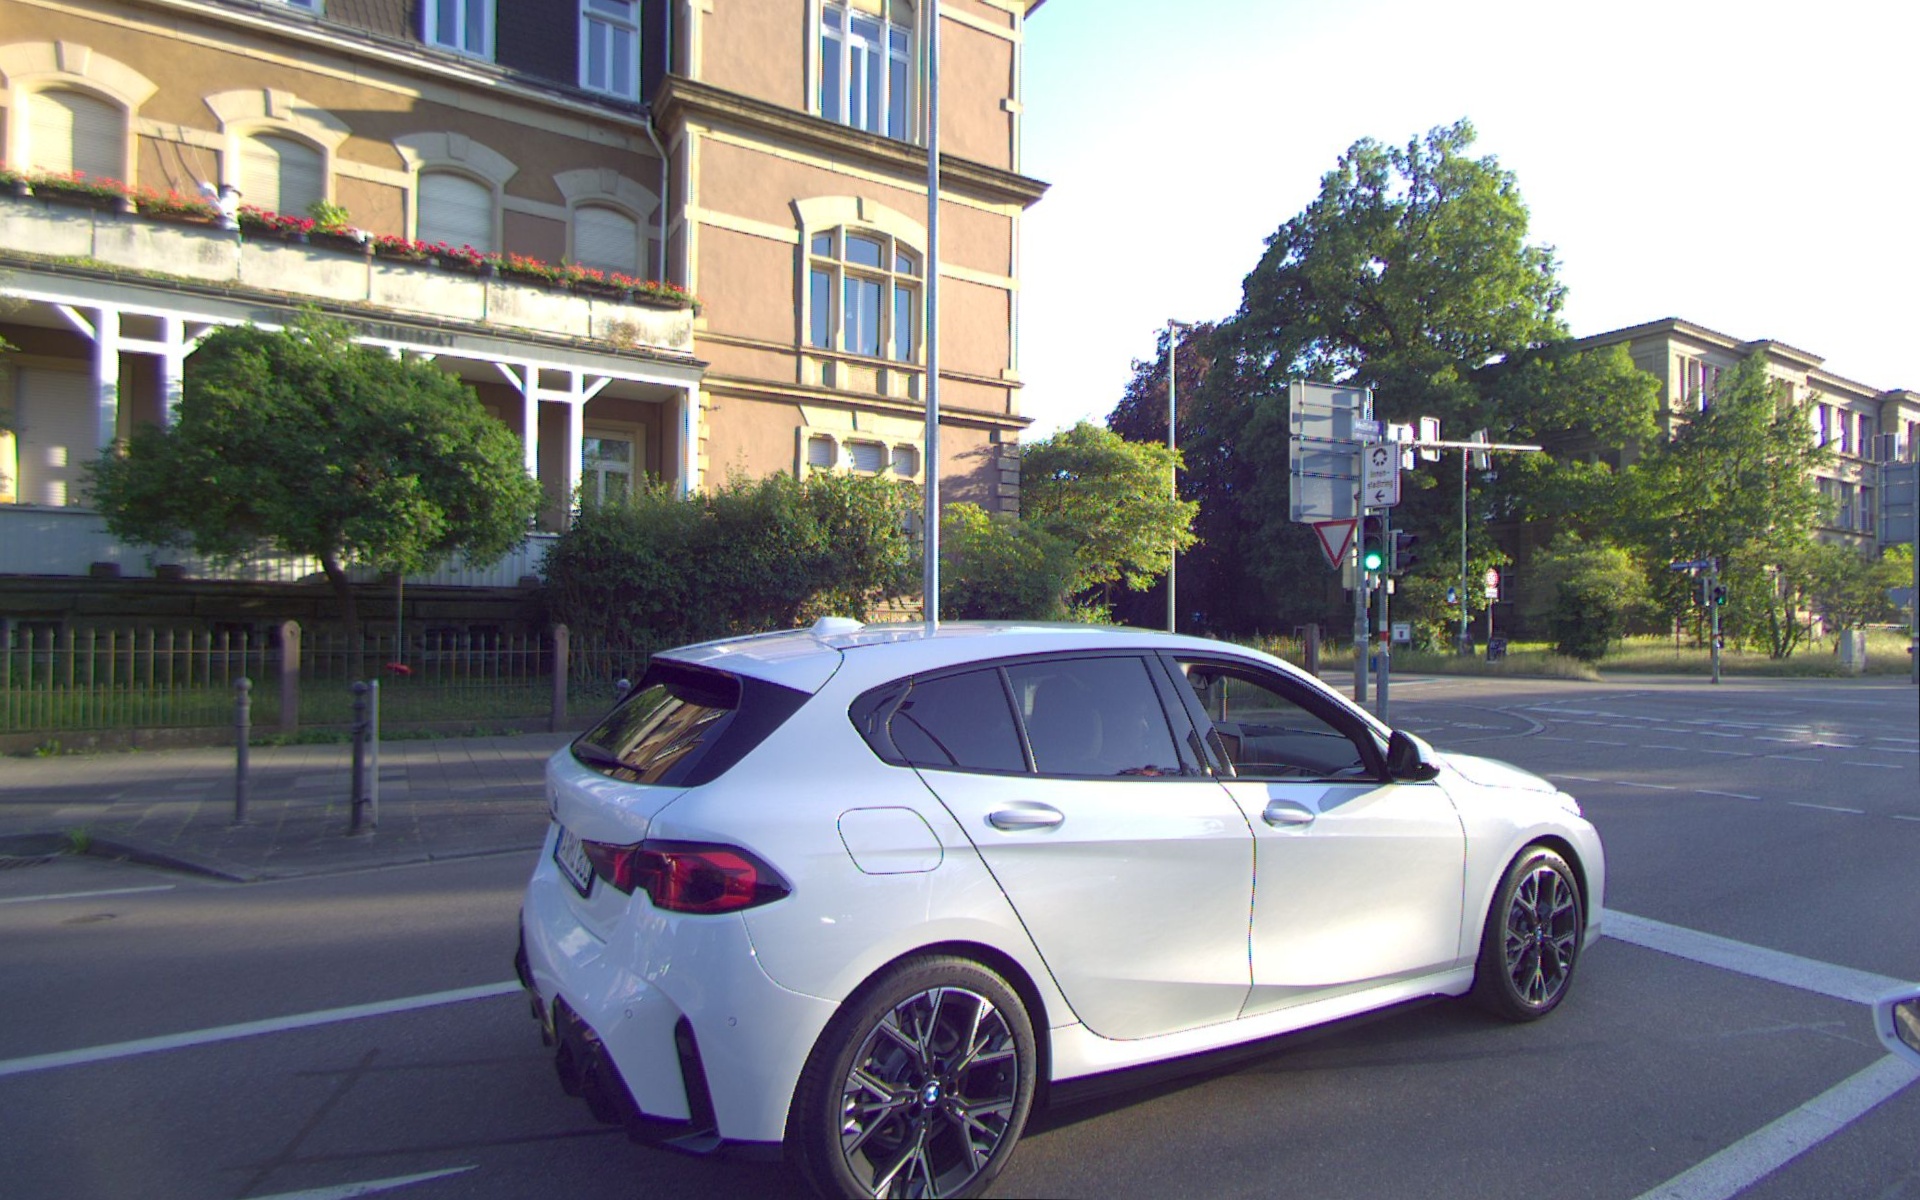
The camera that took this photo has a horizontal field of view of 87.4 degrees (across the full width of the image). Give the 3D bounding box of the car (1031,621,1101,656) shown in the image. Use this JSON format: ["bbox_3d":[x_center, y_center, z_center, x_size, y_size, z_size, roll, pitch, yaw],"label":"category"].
[{"bbox_3d":[5.861,2.128,55.860,1.841,1.870,4.087,1,-2,-30],"label":"car"}]

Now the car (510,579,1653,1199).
[{"bbox_3d":[0.654,0.766,3.819,4.141,1.485,1.743,1,-2,-31],"label":"car"}]
